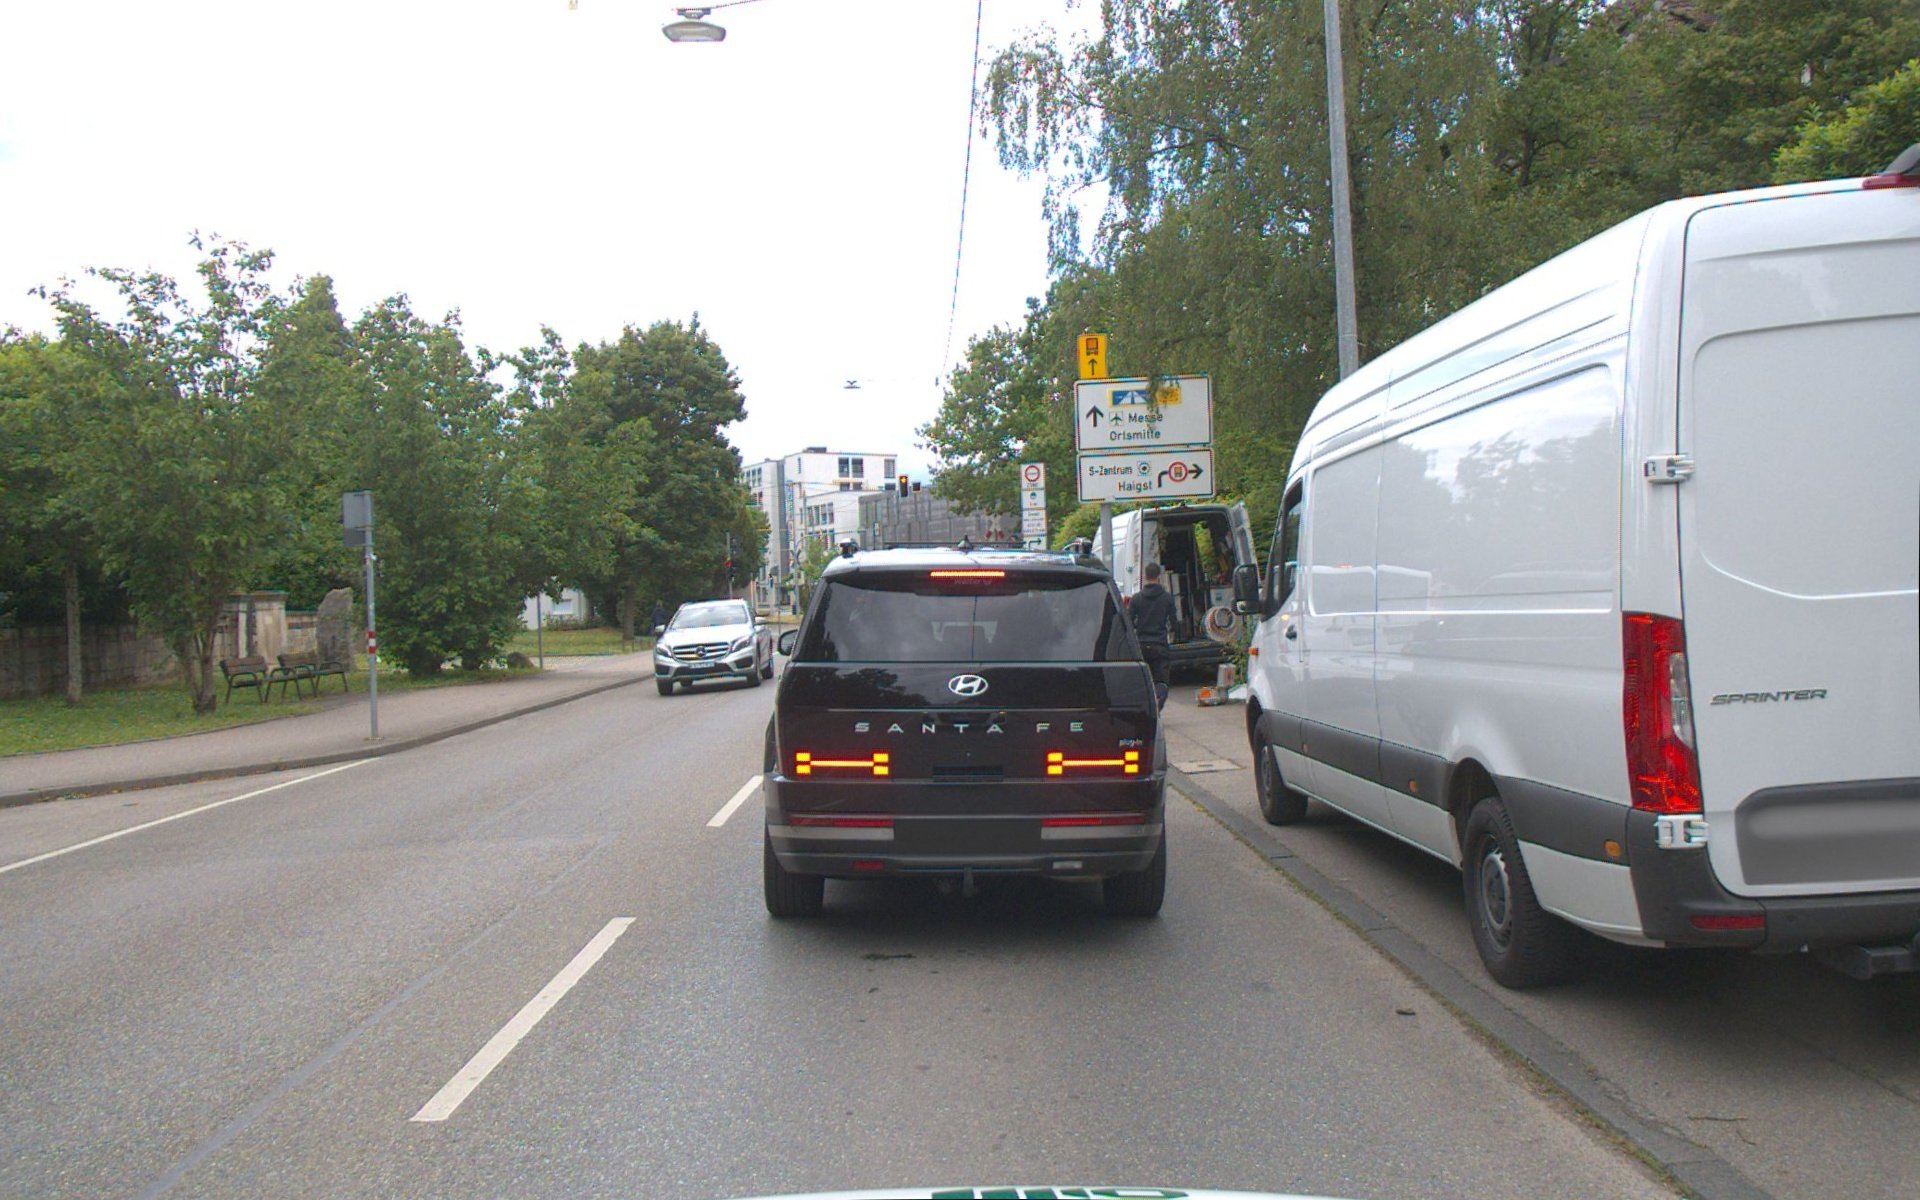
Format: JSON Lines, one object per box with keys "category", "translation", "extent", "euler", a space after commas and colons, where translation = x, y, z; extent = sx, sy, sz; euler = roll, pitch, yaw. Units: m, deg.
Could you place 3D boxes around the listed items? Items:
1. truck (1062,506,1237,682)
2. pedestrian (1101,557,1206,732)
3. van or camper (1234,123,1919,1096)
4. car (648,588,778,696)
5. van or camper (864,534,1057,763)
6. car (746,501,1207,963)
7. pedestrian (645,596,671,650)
{"category": "truck", "translation": [3.088, -0.080, 28.068], "extent": [1.904, 2.606, 5.212], "euler": [-3, 0, -4]}
{"category": "pedestrian", "translation": [2.094, 0.464, 17.889], "extent": [0.745, 1.828, 0.869], "euler": [-2, 0, 38]}
{"category": "van or camper", "translation": [2.898, -0.005, 7.853], "extent": [1.953, 2.665, 6.540], "euler": [-2, 0, -1]}
{"category": "car", "translation": [-4.334, 0.695, 29.596], "extent": [1.749, 1.682, 4.118], "euler": [-4, 0, -2]}
{"category": "van or camper", "translation": [-0.025, 0.436, 17.157], "extent": [1.719, 2.049, 3.999], "euler": [-2, 0, -1]}
{"category": "car", "translation": [0.039, 0.523, 8.658], "extent": [1.851, 1.851, 3.999], "euler": [0, 0, -1]}
{"category": "pedestrian", "translation": [-9.872, 0.739, 54.093], "extent": [0.724, 1.745, 0.791], "euler": [-2, 0, -8]}
